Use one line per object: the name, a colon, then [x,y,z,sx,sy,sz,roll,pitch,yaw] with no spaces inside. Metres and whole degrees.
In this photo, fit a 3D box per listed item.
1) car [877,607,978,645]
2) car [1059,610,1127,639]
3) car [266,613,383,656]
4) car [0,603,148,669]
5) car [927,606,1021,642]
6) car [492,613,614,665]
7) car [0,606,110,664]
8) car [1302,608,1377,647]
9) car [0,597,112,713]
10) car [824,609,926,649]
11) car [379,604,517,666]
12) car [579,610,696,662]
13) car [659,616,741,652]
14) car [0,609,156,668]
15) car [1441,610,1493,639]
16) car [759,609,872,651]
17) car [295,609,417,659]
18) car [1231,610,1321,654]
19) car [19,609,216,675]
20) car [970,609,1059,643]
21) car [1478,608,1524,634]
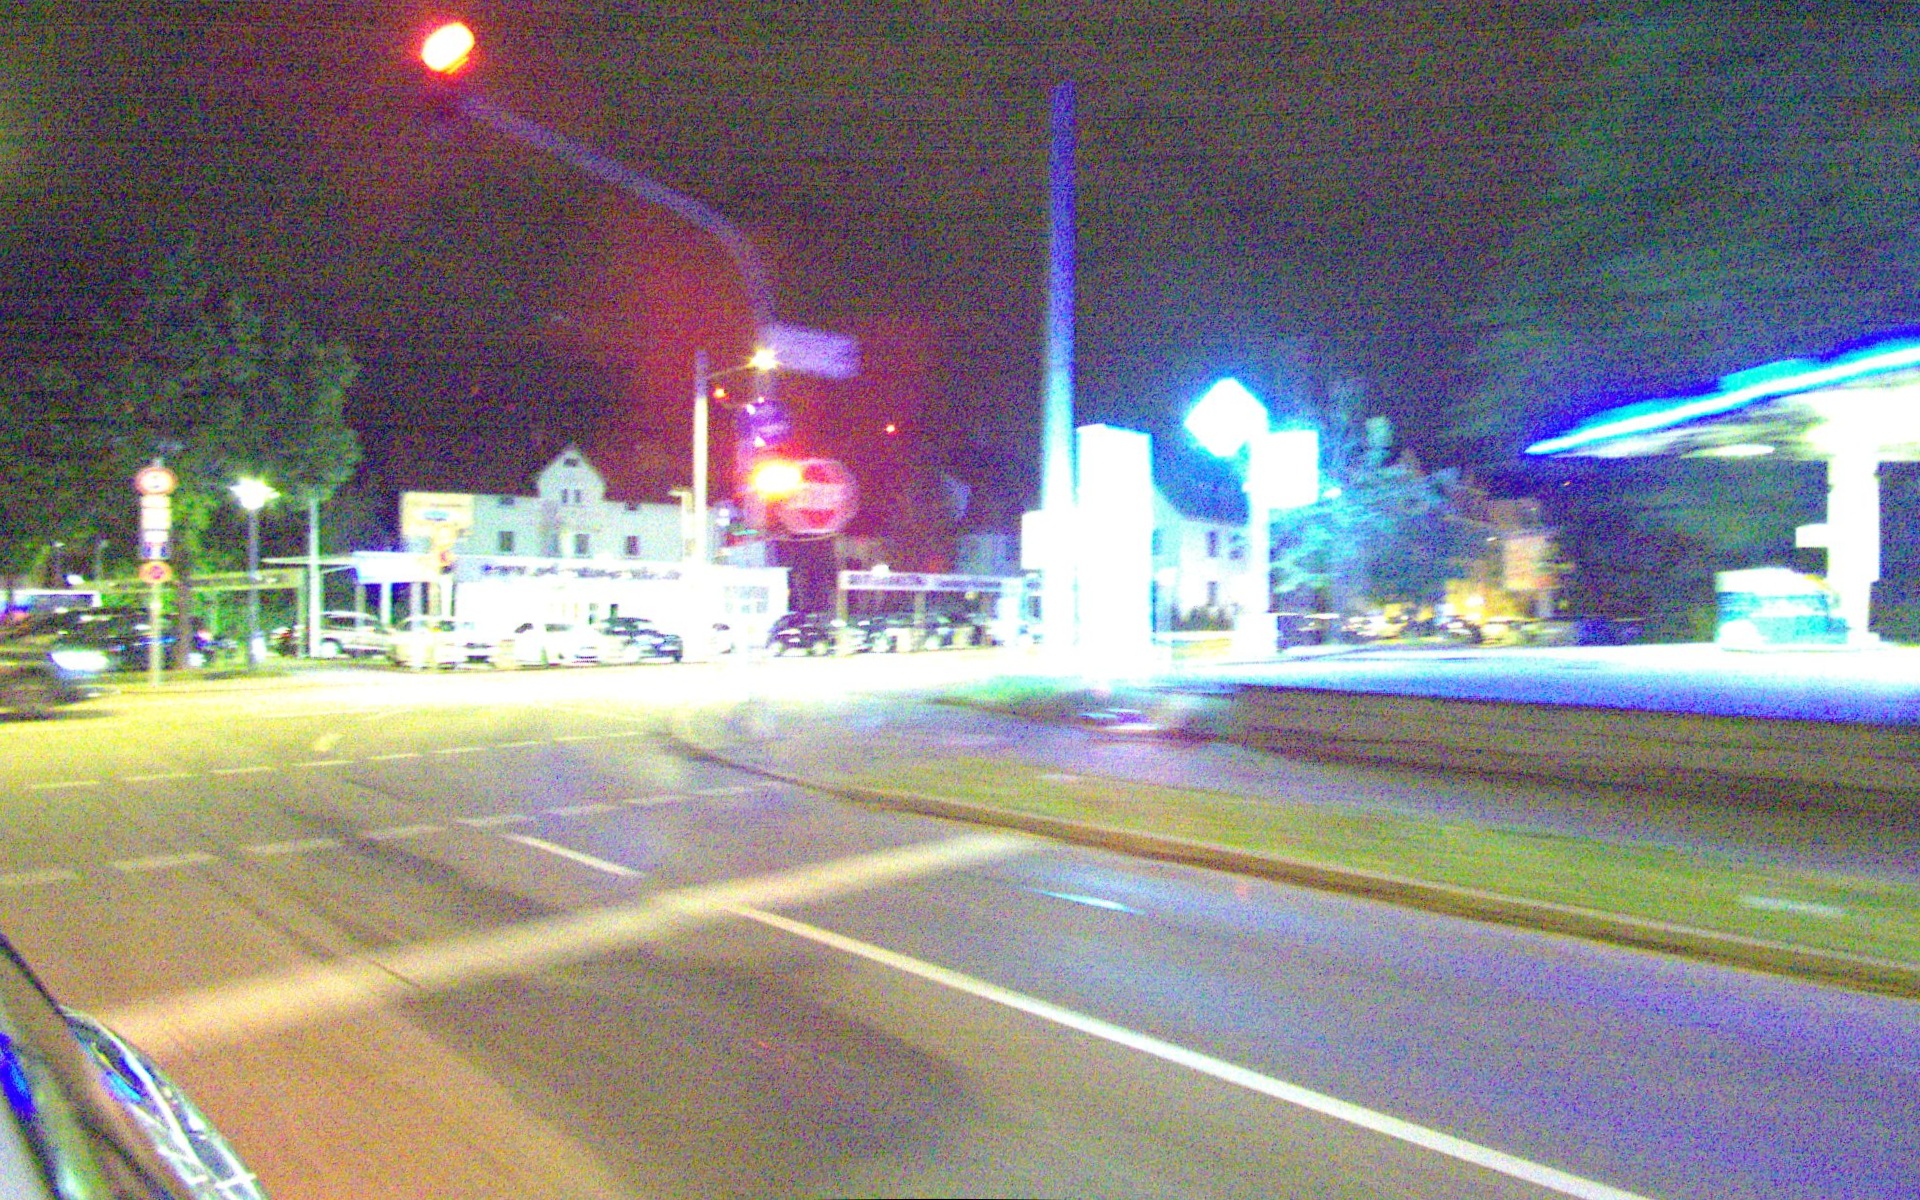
car: [-1.400,1.066,42.594,4.085,1.489,1.839,-1,0,42]
car: [7.328,1.325,55.959,3.413,1.512,1.588,-1,0,43]
car: [-24.585,1.315,39.218,1.633,1.598,3.529,-1,-1,41]
car: [-27.752,1.079,31.201,1.633,1.905,4.004,-1,-1,39]
car: [0.580,1.043,45.015,4.026,1.489,1.758,-1,0,42]
car: [-12.323,1.135,30.546,4.069,1.472,1.839,-1,-2,42]
car: [-29.768,1.101,32.281,1.633,1.805,3.799,-1,-1,39]
car: [15.114,1.069,40.260,1.681,1.422,3.523,-1,0,41]
car: [-14.242,0.756,13.546,1.686,1.571,4.256,-1,-1,42]
car: [-3.432,1.118,40.338,4.085,1.489,1.709,-1,0,42]
car: [-14.448,0.948,28.458,4.385,1.569,1.973,-1,0,41]
car: [-10.561,1.146,32.991,4.069,1.565,1.839,-1,0,42]
car: [-11.555,1.482,45.270,1.717,1.489,4.255,-1,0,15]
car: [-25.921,1.088,29.571,1.619,1.641,3.531,-1,-1,39]
car: [26.928,1.269,53.722,1.681,1.422,3.523,-1,0,41]
car: [-5.522,1.154,38.413,4.352,1.489,1.839,-3,-1,42]
car: [-22.027,1.215,36.980,1.634,1.712,3.528,-1,-1,42]
car: [11.398,1.119,36.373,1.736,1.422,3.801,-1,0,41]
car: [-22.016,1.051,26.559,1.633,1.598,3.716,-1,-1,39]
car: [2.512,1.181,47.145,3.957,1.489,1.742,-1,0,42]
car: [31.699,1.205,59.255,1.681,1.422,3.523,-1,0,41]
